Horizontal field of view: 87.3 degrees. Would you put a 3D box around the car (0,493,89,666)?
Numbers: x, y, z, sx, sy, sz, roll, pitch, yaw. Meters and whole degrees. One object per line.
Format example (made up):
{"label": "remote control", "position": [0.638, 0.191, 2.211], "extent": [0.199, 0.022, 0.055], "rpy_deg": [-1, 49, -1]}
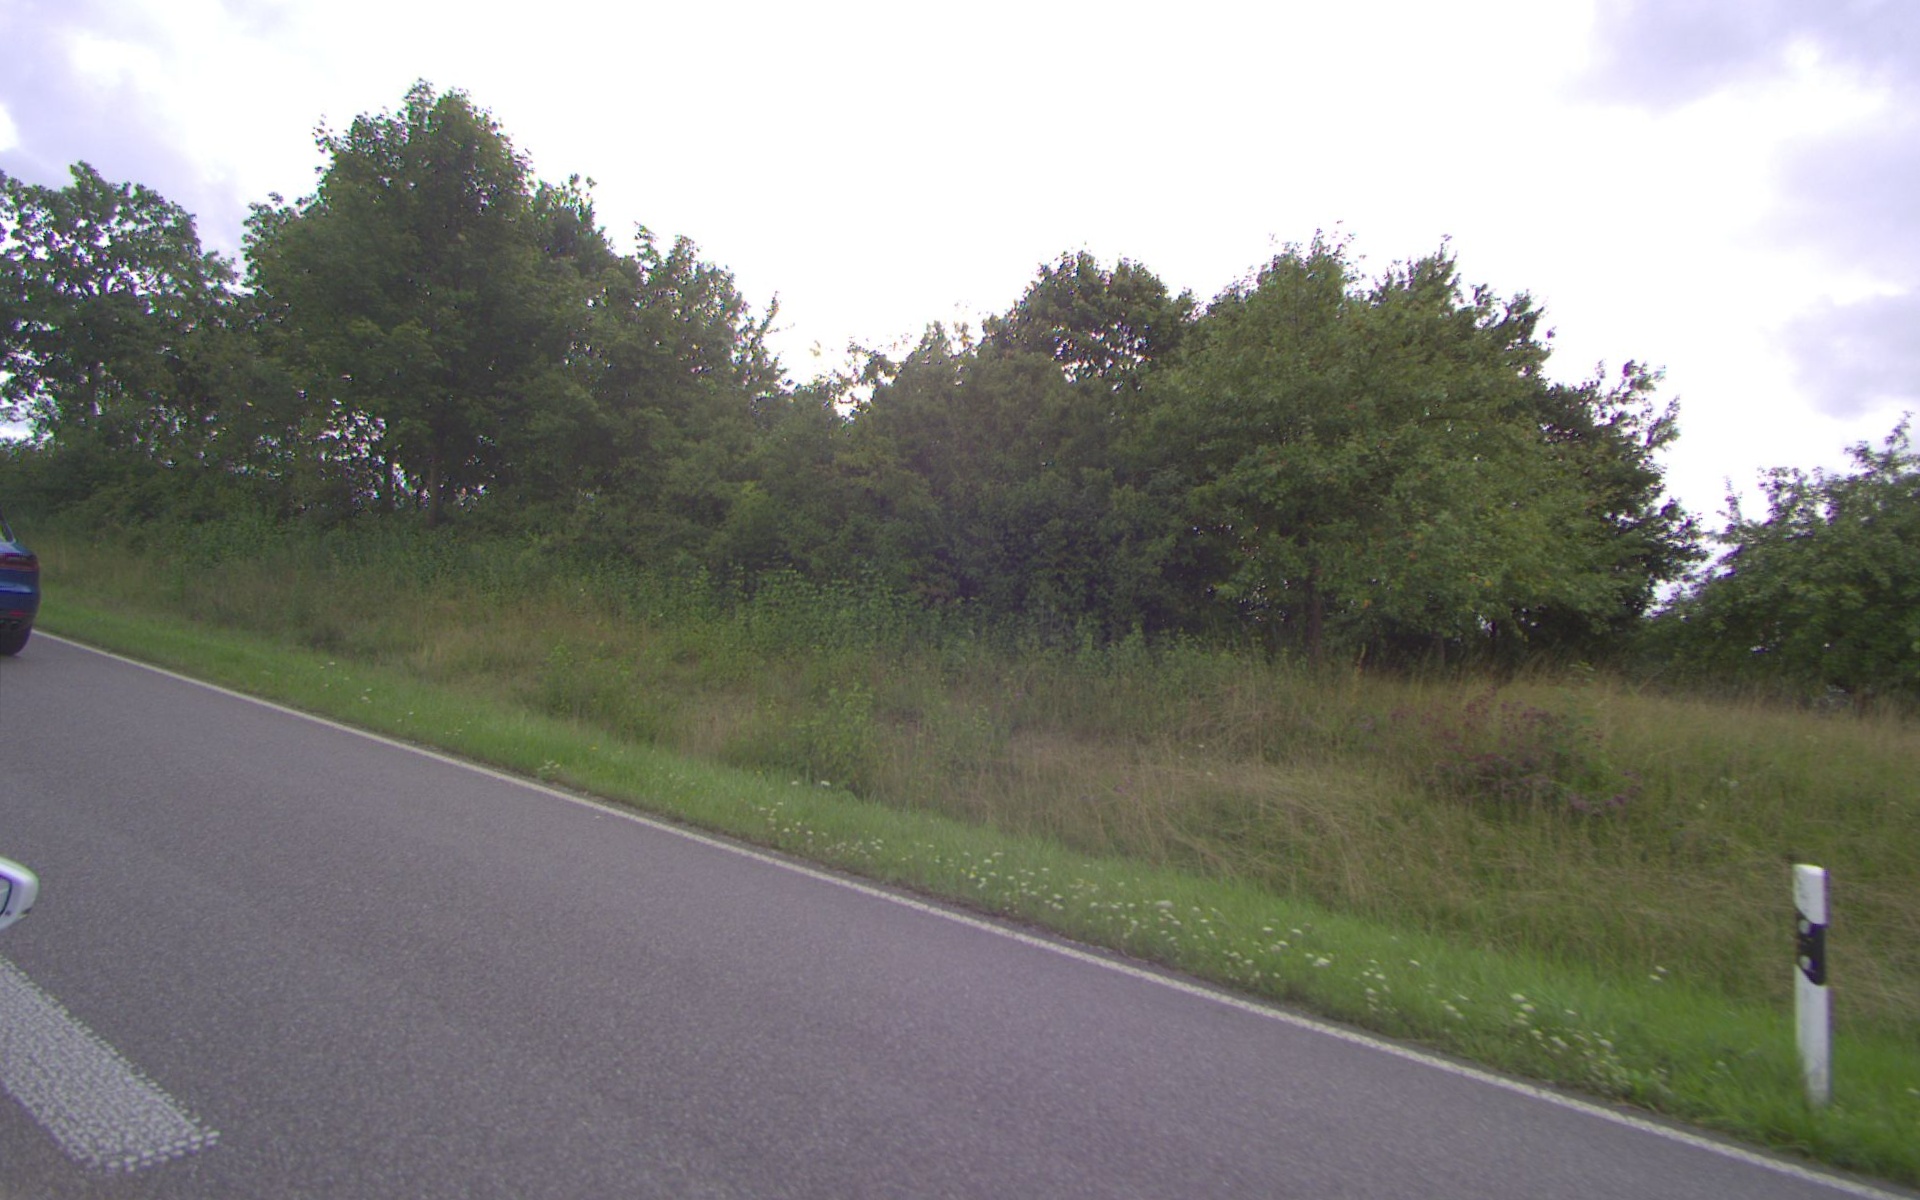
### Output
{"label": "car", "position": [-11.101, -0.463, 10.047], "extent": [4.674, 1.589, 1.998], "rpy_deg": [7, -1, 28]}
